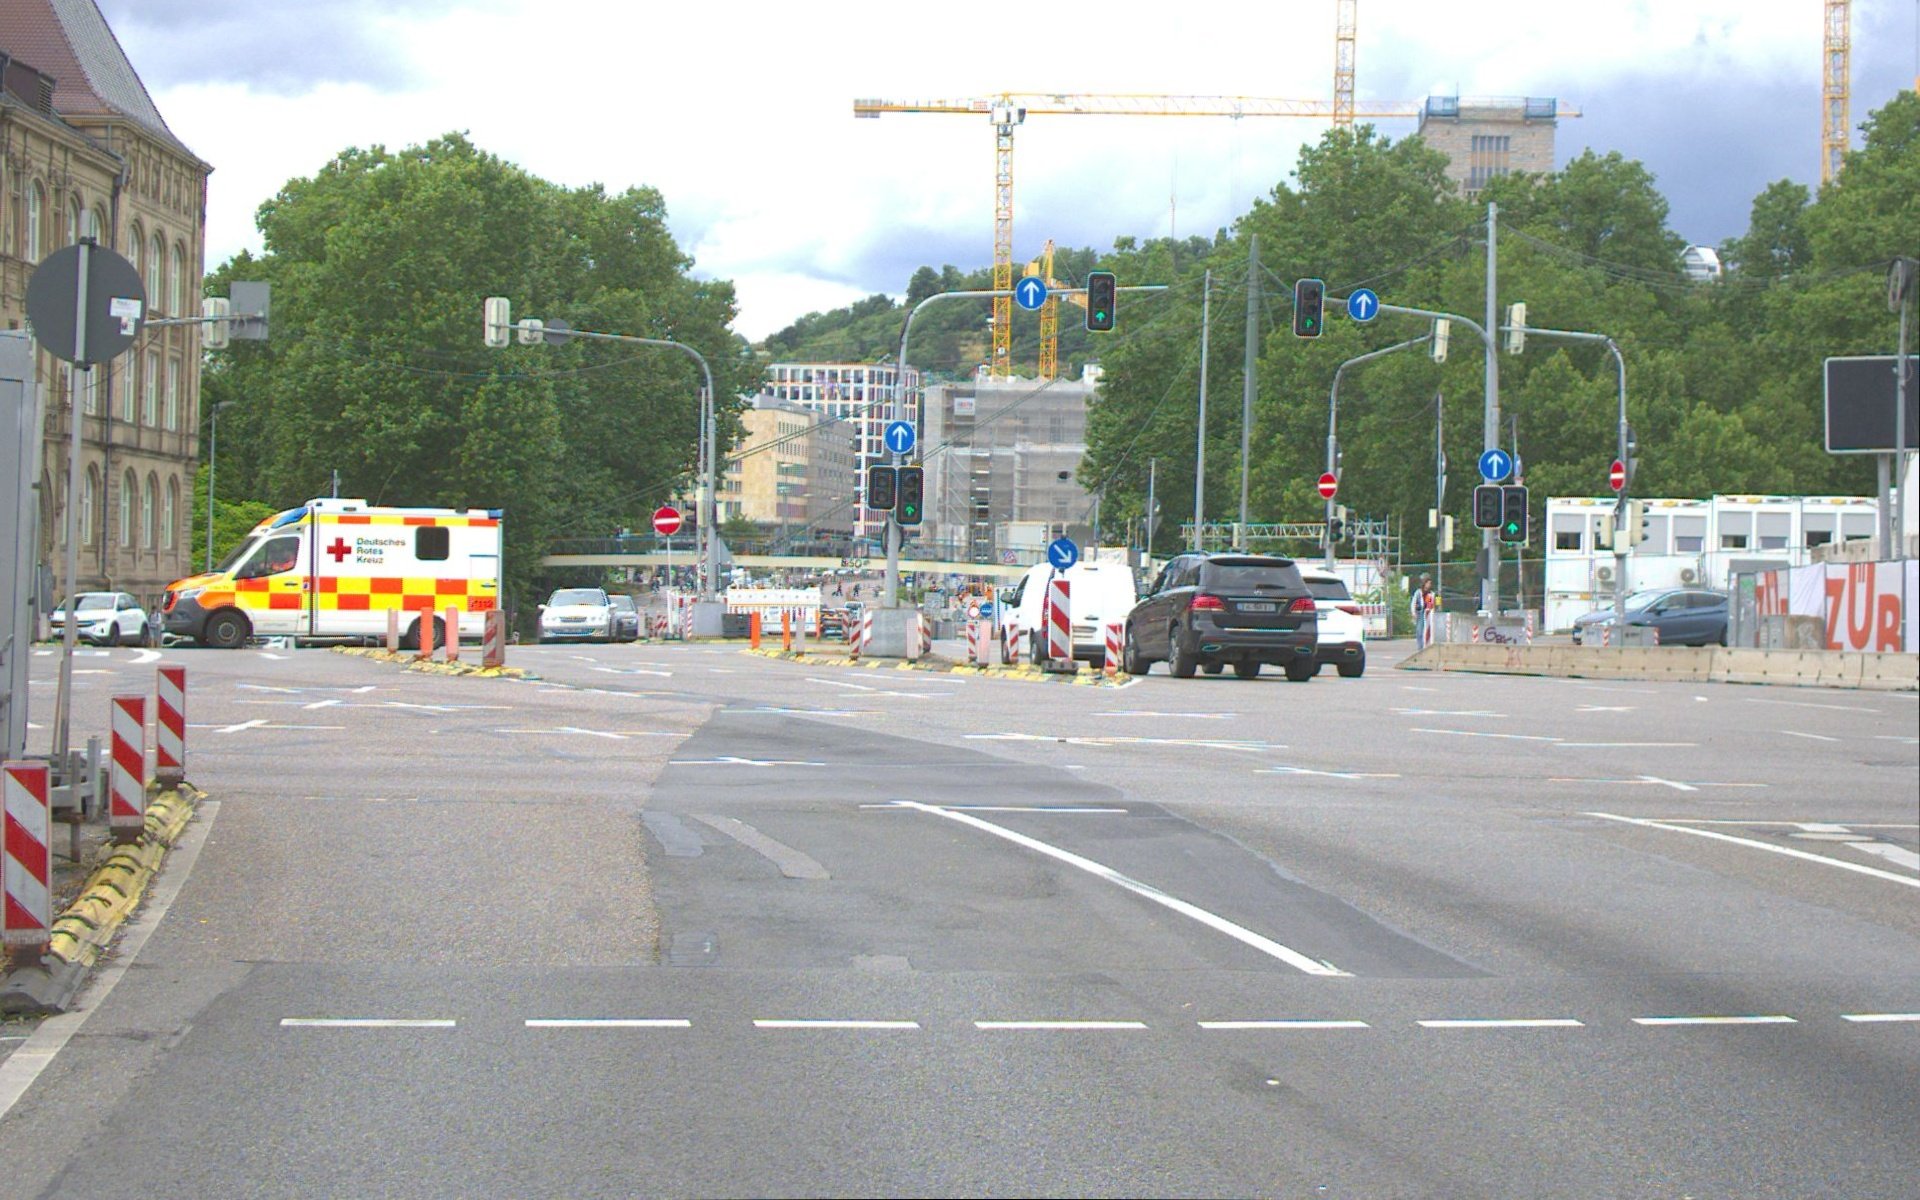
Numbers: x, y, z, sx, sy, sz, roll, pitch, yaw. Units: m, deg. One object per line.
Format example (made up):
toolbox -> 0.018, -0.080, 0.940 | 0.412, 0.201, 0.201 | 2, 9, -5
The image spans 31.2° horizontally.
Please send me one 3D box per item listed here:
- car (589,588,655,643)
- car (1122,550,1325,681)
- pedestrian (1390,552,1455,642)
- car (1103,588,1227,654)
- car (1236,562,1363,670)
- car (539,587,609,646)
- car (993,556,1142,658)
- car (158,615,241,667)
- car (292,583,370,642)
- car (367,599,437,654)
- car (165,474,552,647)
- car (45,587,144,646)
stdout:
car -> -9.049, 0.401, 91.999 | 1.675, 1.393, 3.684 | 1, 1, -7
car -> 3.665, 0.189, 48.481 | 1.831, 1.740, 4.257 | 1, 1, -10
pedestrian -> 10.413, -0.079, 77.376 | 1.094, 2.007, 1.185 | 1, 0, -12
car -> 4.506, 0.459, 75.989 | 1.675, 1.393, 3.087 | 1, 1, -19
car -> 5.500, 0.237, 56.032 | 1.676, 1.696, 3.374 | 1, 1, -1
car -> -9.557, 0.387, 85.024 | 1.675, 1.393, 3.684 | 1, 1, -7
car -> 1.743, 0.088, 57.075 | 1.816, 1.619, 4.001 | 1, 1, -8
car -> -22.060, 1.172, 99.794 | 1.676, 1.393, 3.683 | 1, 1, -2
car -> -15.643, 0.297, 85.627 | 1.675, 1.393, 3.684 | 1, 1, -7
car -> -15.126, 0.705, 93.303 | 1.675, 1.393, 3.684 | 1, 1, -7
car -> -11.143, -0.705, 63.662 | 6.735, 3.041, 2.373 | 1, 0, -18
car -> -21.790, 0.403, 86.674 | 1.676, 1.393, 3.683 | 1, 1, -2
